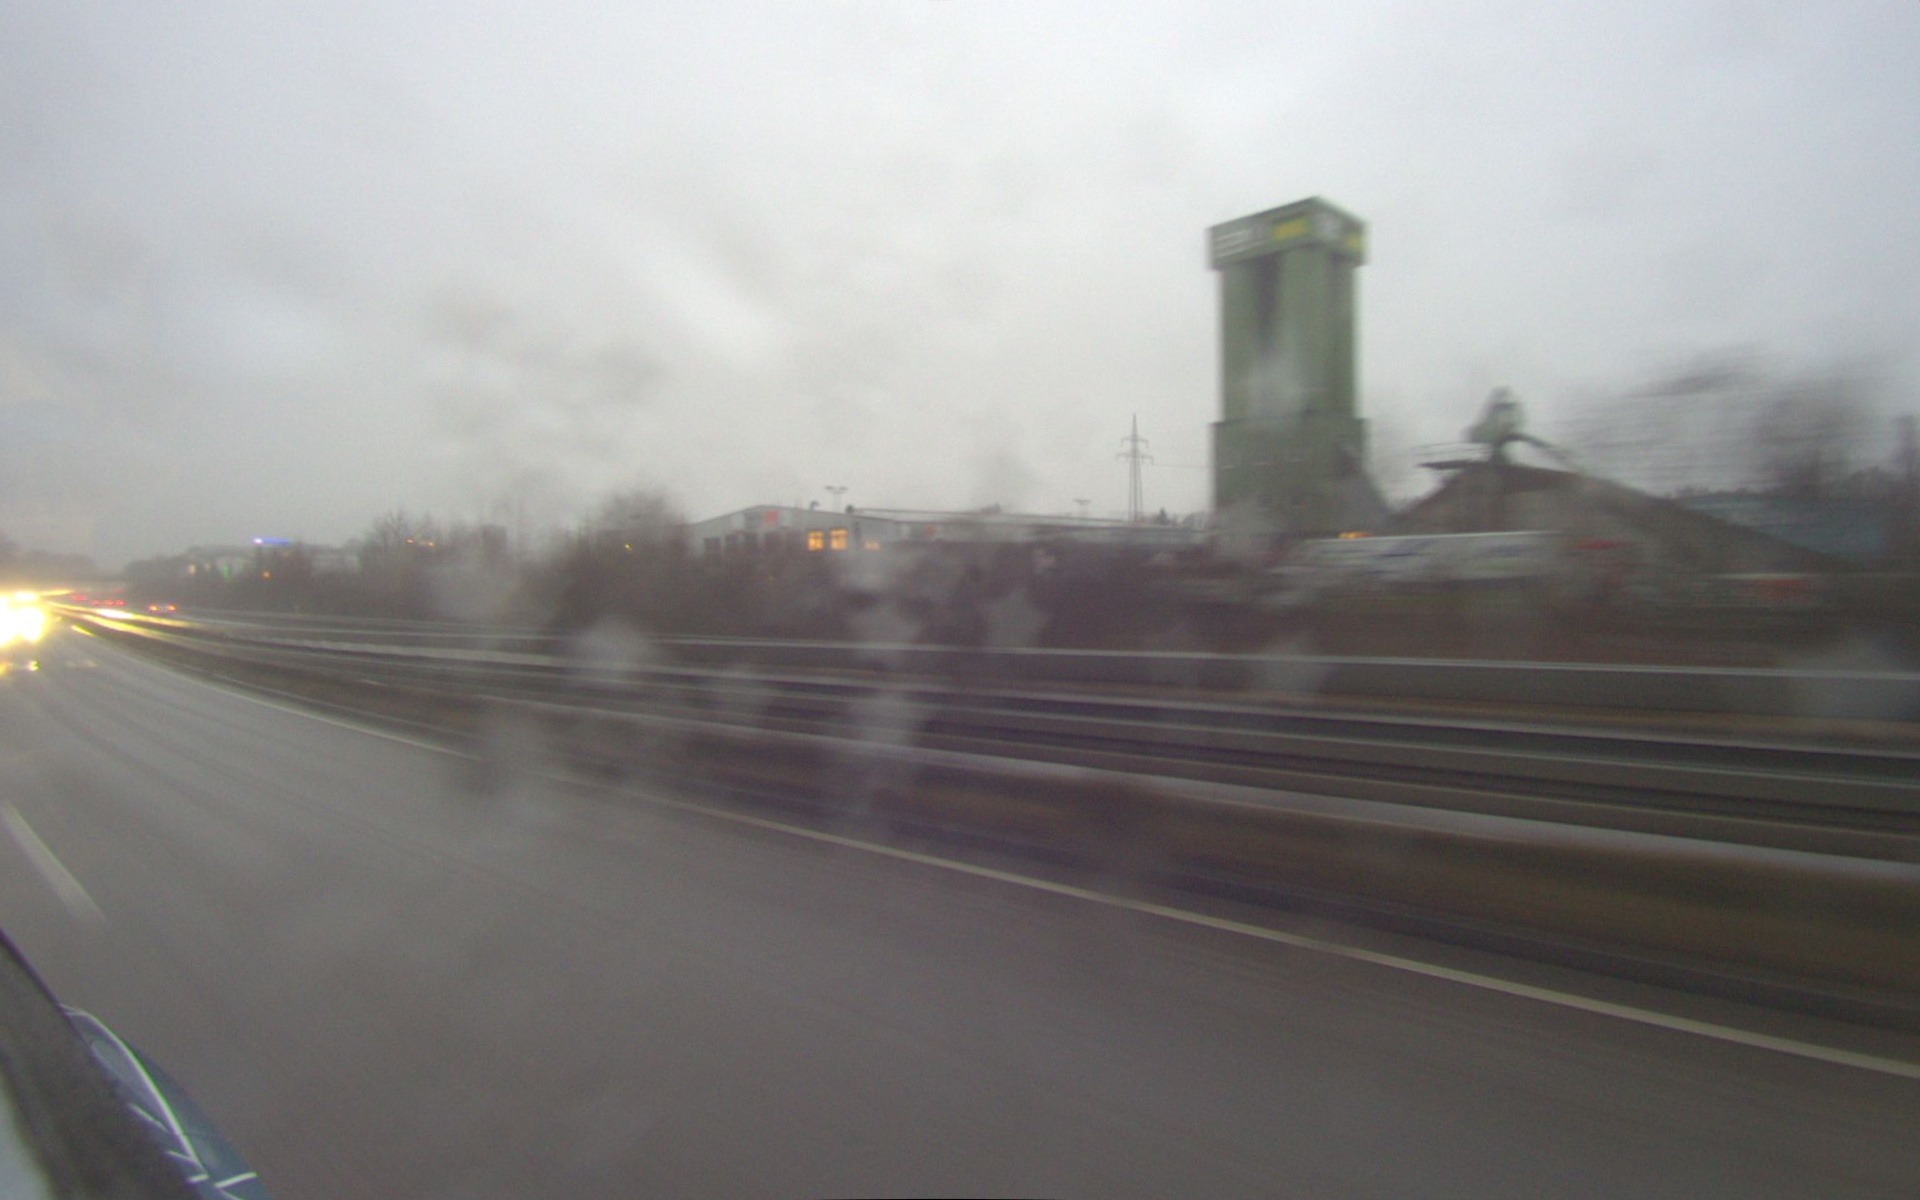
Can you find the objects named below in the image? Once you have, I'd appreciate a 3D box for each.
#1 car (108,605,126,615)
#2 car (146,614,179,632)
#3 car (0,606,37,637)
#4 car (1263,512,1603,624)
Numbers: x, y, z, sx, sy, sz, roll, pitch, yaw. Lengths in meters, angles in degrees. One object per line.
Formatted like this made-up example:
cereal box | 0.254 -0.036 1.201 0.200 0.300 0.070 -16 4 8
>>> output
car | -119.323 1.406 143.228 1.683 1.486 4.370 0 0 -43
car | -74.039 2.079 93.889 4.527 1.639 1.743 -1 -1 43
car | -66.633 1.486 71.373 4.002 2.028 1.971 -1 2 45
car | 15.487 -0.819 34.098 3.153 3.235 9.952 1 -2 -42
